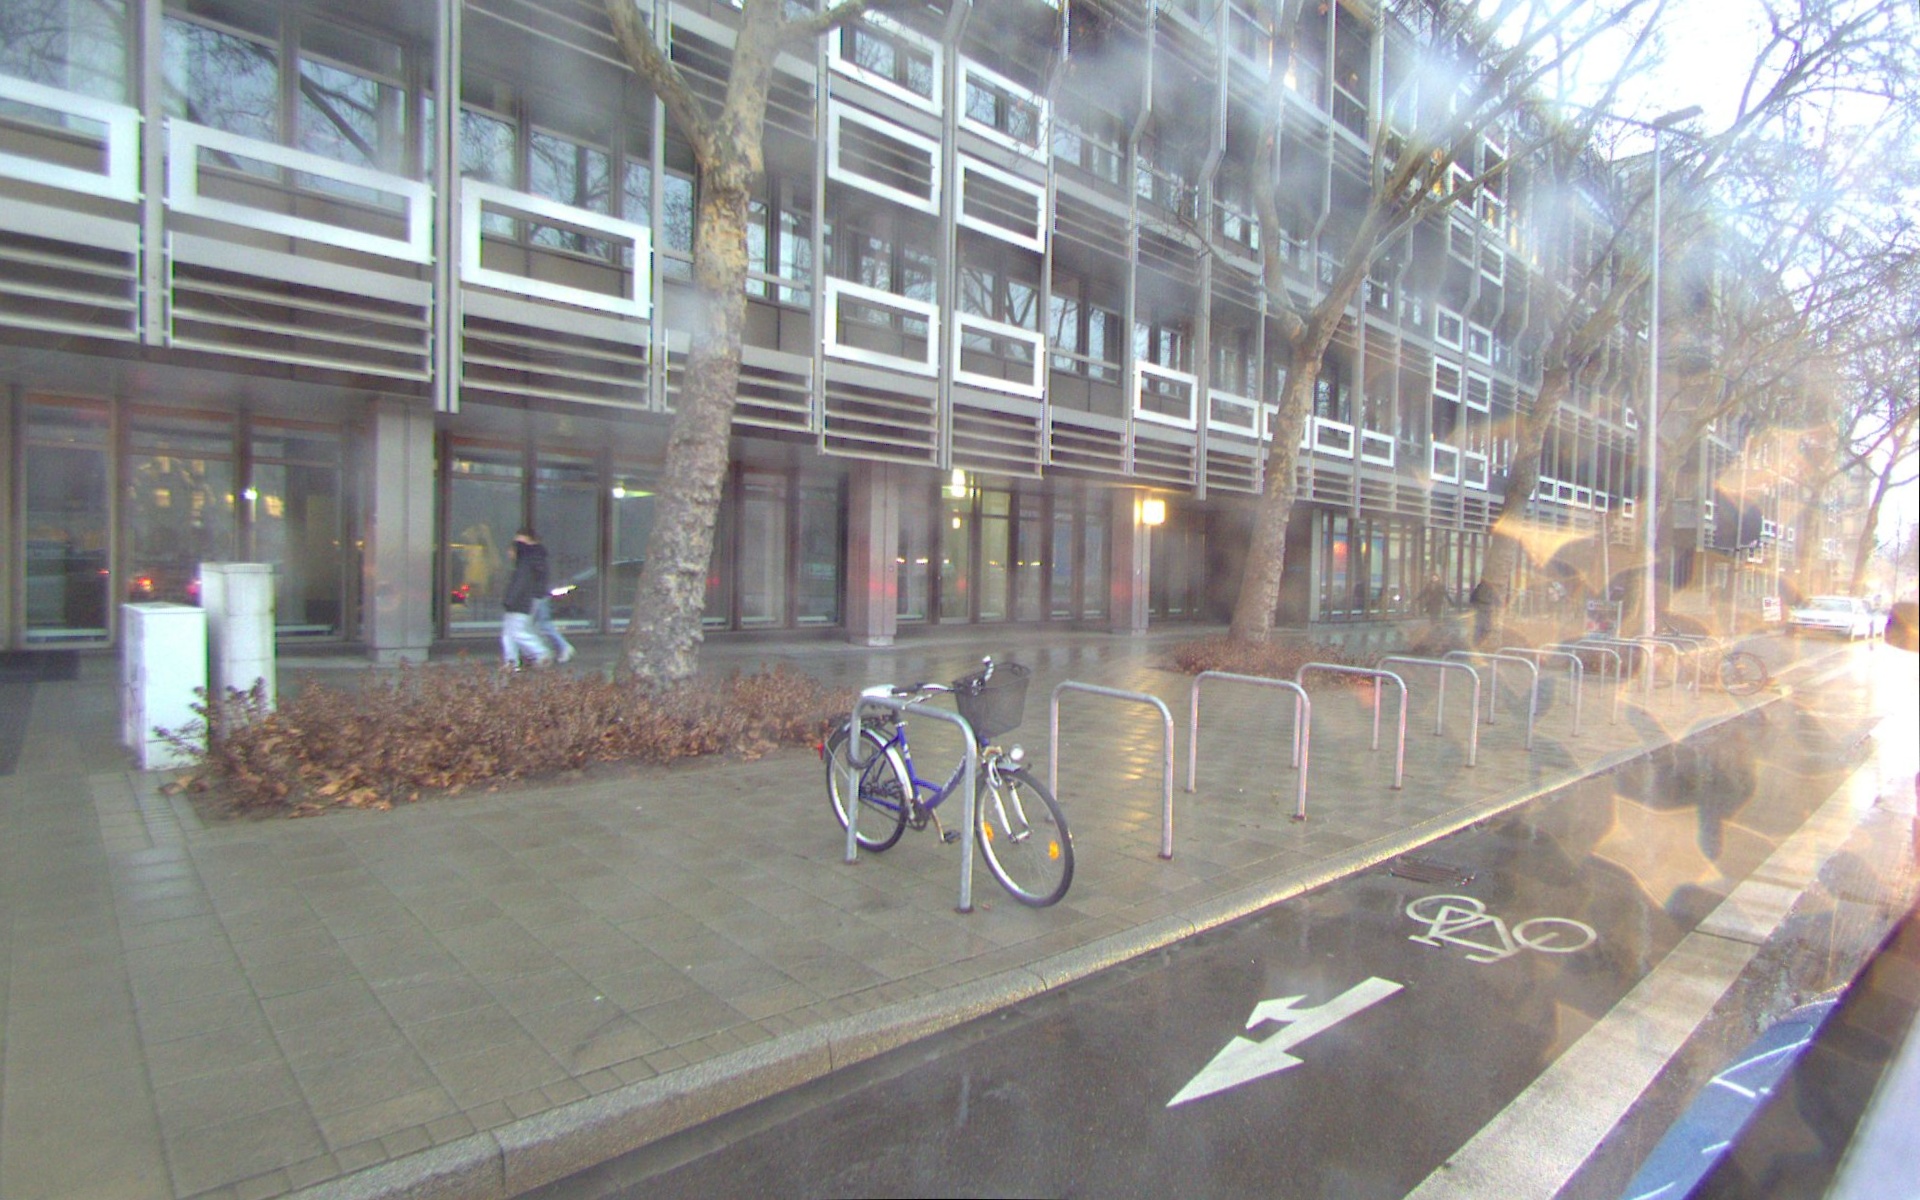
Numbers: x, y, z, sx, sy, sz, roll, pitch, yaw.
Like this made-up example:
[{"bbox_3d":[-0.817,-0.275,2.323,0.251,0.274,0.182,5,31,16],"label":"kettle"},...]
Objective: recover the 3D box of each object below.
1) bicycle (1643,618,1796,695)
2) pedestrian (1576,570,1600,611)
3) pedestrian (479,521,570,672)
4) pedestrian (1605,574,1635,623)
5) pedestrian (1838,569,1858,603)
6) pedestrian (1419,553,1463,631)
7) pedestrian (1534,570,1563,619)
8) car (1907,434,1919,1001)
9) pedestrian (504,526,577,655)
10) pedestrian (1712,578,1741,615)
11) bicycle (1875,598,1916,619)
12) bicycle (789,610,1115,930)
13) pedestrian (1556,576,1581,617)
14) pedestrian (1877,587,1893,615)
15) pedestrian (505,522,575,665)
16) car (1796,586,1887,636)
[{"bbox_3d":[11.649,0.836,15.566,0.607,0.986,1.789,0,3,-45],"label":"bicycle"},{"bbox_3d":[26.125,-0.414,42.106,0.640,1.675,0.829,2,2,44],"label":"pedestrian"},{"bbox_3d":[-5.063,-0.047,11.771,0.858,1.689,0.501,0,2,-41],"label":"pedestrian"},{"bbox_3d":[21.470,-0.041,32.927,0.604,1.563,0.649,0,1,-40],"label":"pedestrian"},{"bbox_3d":[53.862,-0.857,61.383,1.007,2.039,0.790,0,1,-41],"label":"pedestrian"},{"bbox_3d":[12.832,-0.224,26.995,0.723,2.039,0.821,0,1,-43],"label":"pedestrian"},{"bbox_3d":[20.497,-0.210,35.257,0.767,1.677,0.617,0,1,-41],"label":"pedestrian"},{"bbox_3d":[5.519,0.425,4.238,3.930,2.039,1.857,0,1,-41],"label":"car"},{"bbox_3d":[-5.331,-0.126,12.858,0.733,1.583,0.484,0,1,-42],"label":"pedestrian"},{"bbox_3d":[33.063,-0.155,43.667,0.824,1.543,0.865,0,2,-44],"label":"pedestrian"},{"bbox_3d":[46.974,0.432,50.840,1.518,1.049,0.462,0,1,42],"label":"bicycle"},{"bbox_3d":[-0.118,0.694,4.839,0.428,1.162,1.752,0,4,-44],"label":"bicycle"},{"bbox_3d":[20.895,-0.134,34.760,0.484,1.386,0.503,1,1,-23],"label":"pedestrian"},{"bbox_3d":[69.967,0.062,76.542,0.758,2.039,0.837,-1,0,-42],"label":"pedestrian"},{"bbox_3d":[-5.120,-0.085,12.354,0.701,1.689,0.379,0,1,-41],"label":"pedestrian"},{"bbox_3d":[29.424,0.321,33.750,3.859,1.449,1.609,0,5,-39],"label":"car"}]
